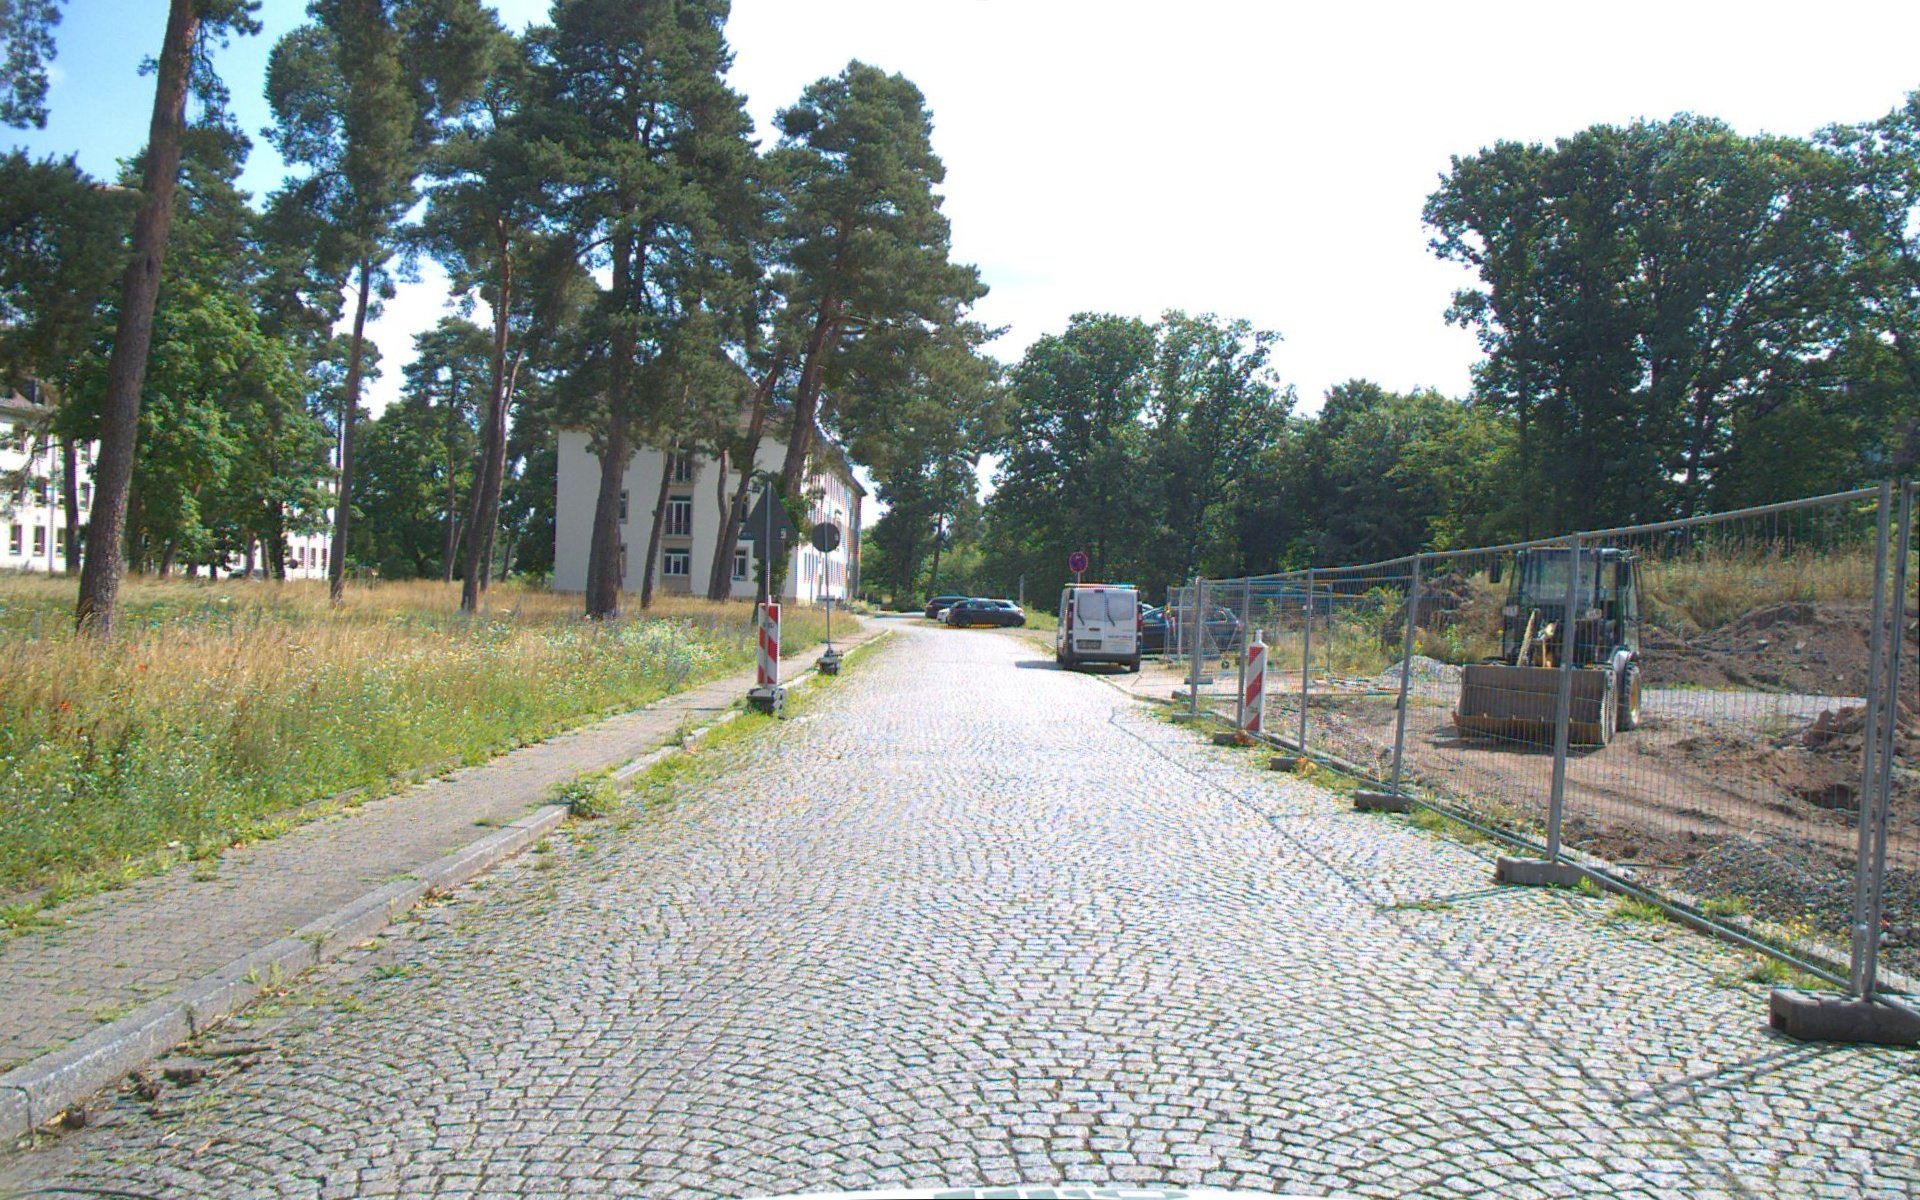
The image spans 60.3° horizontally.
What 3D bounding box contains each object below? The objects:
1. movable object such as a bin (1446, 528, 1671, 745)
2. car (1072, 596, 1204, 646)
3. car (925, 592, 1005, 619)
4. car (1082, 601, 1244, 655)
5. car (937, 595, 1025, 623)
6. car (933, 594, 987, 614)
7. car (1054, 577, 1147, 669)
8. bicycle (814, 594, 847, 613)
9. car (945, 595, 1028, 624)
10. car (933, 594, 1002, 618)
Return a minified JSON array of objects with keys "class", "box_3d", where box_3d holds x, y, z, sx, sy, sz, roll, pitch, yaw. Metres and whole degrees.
[{"class":"movable object such as a bin","box_3d":[8.290,0.386,22.545,2.102,2.565,5.648,1,1,28]},{"class":"car","box_3d":[5.541,0.634,51.882,3.907,1.533,1.745,0,0,-3]},{"class":"car","box_3d":[0.276,0.321,99.112,4.755,1.580,1.879,0,-1,-2]},{"class":"car","box_3d":[5.759,0.781,47.231,4.366,1.501,1.744,0,0,-5]},{"class":"car","box_3d":[1.142,0.469,91.691,4.764,1.498,1.874,0,1,-2]},{"class":"car","box_3d":[0.048,0.303,127.160,4.100,1.570,1.820,0,-1,1]},{"class":"car","box_3d":[3.433,0.534,41.265,1.874,2.089,5.679,1,0,1]},{"class":"bicycle","box_3d":[-9.085,0.222,116.076,2.176,1.282,0.623,1,0,2]},{"class":"car","box_3d":[1.389,0.497,88.448,4.244,1.526,1.827,0,1,-9]},{"class":"car","box_3d":[0.456,0.363,104.349,4.309,1.510,1.765,0,-1,-2]}]
